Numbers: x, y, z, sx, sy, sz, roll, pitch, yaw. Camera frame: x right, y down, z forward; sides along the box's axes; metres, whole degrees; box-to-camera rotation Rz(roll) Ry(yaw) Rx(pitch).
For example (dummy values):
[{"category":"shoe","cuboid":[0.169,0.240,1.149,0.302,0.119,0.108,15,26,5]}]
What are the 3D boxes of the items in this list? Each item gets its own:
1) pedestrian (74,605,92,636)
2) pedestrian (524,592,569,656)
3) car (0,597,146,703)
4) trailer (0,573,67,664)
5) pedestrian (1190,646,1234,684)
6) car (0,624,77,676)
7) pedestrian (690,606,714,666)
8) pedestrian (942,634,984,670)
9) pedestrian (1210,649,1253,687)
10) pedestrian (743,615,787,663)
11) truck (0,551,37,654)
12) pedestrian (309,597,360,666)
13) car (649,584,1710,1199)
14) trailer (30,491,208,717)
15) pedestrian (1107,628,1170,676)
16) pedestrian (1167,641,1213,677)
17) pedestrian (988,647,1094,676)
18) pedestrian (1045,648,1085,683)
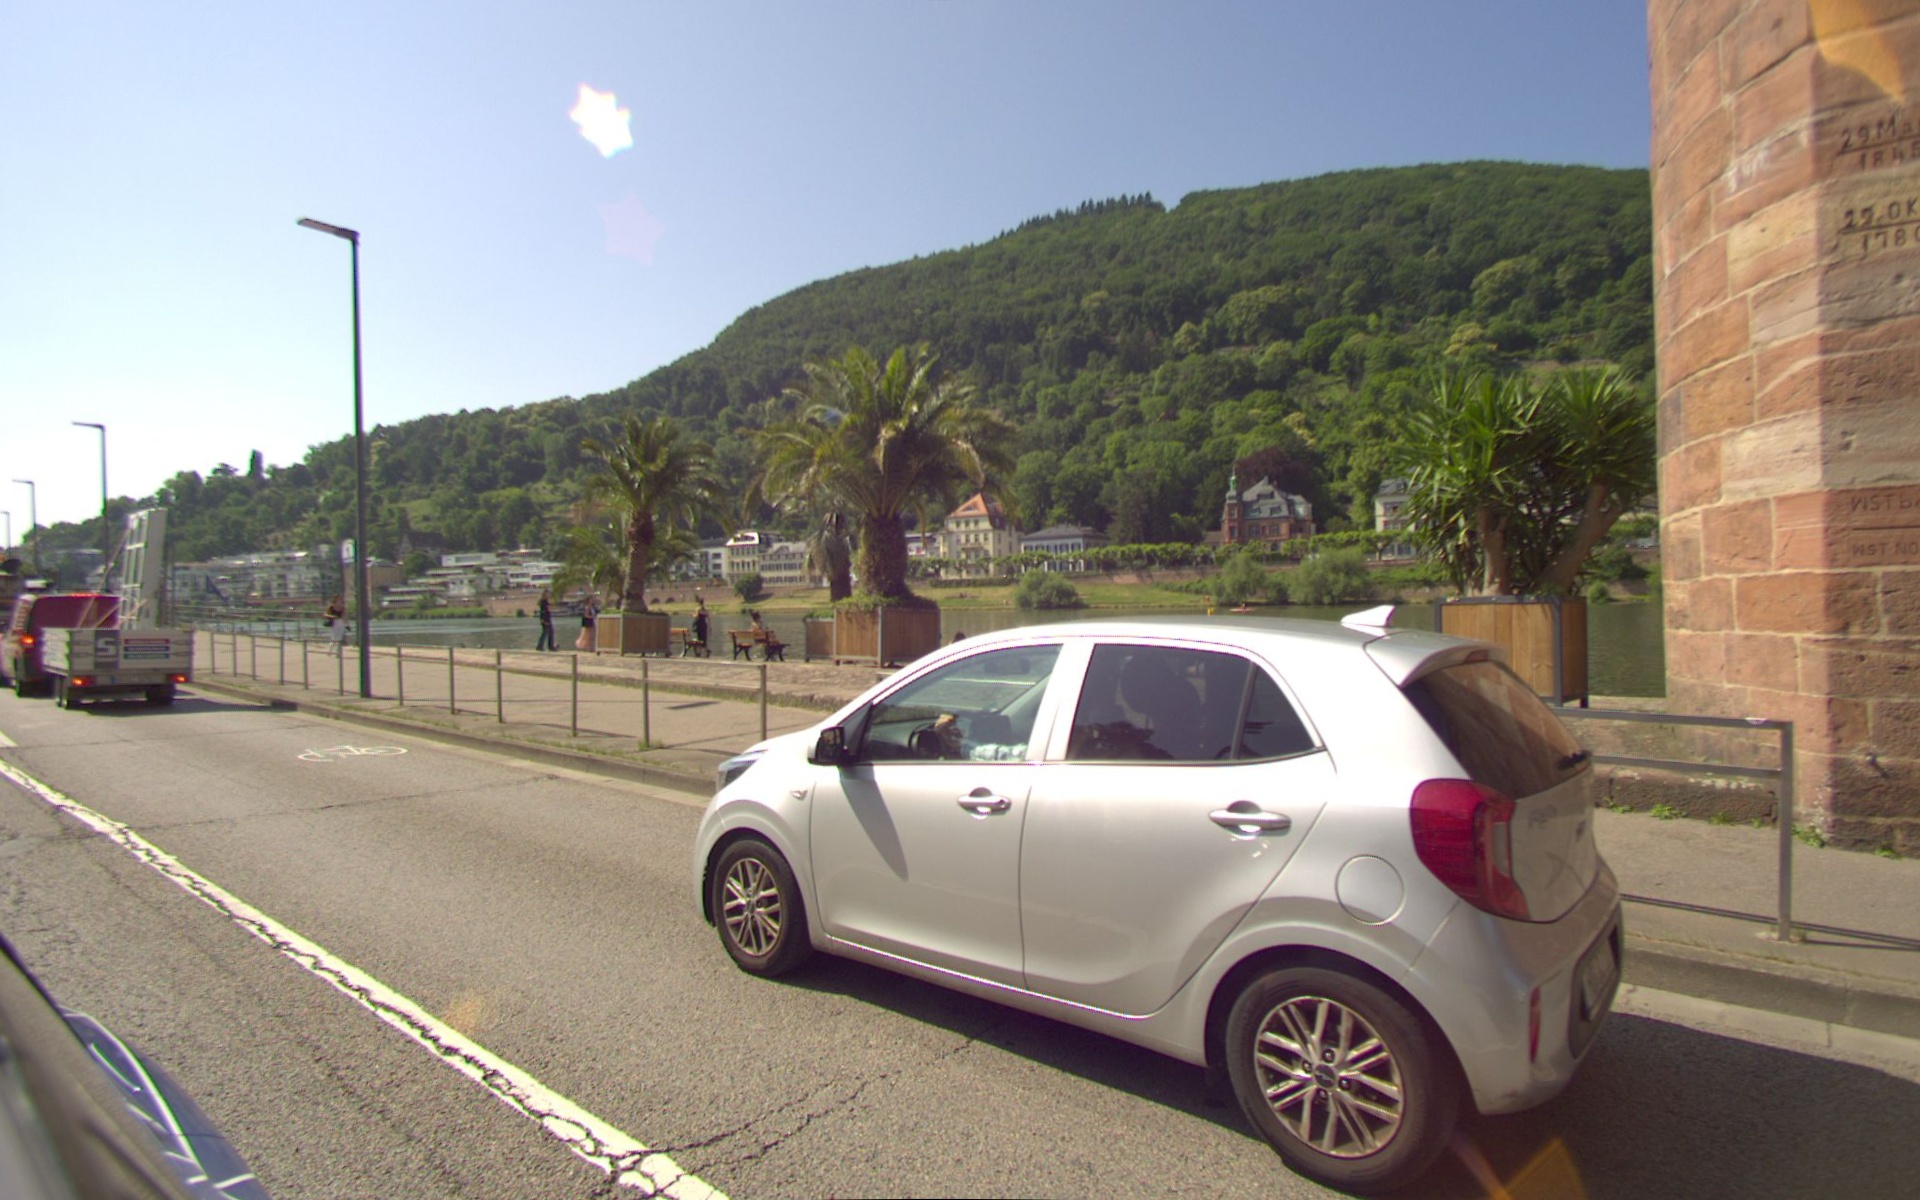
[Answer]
[{"category":"pedestrian","cuboid":[-50.089,1.175,57.803,0.703,1.719,0.846,0,-1,-45]},{"category":"pedestrian","cuboid":[-11.206,0.637,27.439,0.836,1.704,0.795,-1,0,7]},{"category":"car","cuboid":[-17.615,0.913,19.788,4.541,1.841,1.855,-1,-2,41]},{"category":"trailer","cuboid":[-29.418,0.516,30.834,6.948,2.550,2.668,0,-1,43]},{"category":"pedestrian","cuboid":[4.089,1.052,16.427,0.537,0.568,0.433,-1,0,-36]},{"category":"car","cuboid":[-24.108,1.253,26.001,3.627,1.203,1.654,0,-2,41]},{"category":"pedestrian","cuboid":[-7.072,0.966,27.772,0.585,1.613,0.681,-1,0,-11]},{"category":"pedestrian","cuboid":[0.068,1.144,22.550,0.688,0.747,0.603,-1,0,-45]},{"category":"pedestrian","cuboid":[4.316,1.075,16.094,0.537,0.568,0.415,-1,0,-36]},{"category":"pedestrian","cuboid":[-4.775,0.965,24.784,0.508,1.154,0.930,-1,-3,45]},{"category":"truck","cuboid":[-35.640,0.059,36.650,7.872,3.483,2.613,0,-1,43]},{"category":"pedestrian","cuboid":[-16.170,0.794,26.157,1.151,1.714,0.808,0,0,41]},{"category":"car","cuboid":[0.515,0.729,3.902,3.725,1.447,1.519,-1,-2,41]},{"category":"trailer","cuboid":[-13.968,0.092,16.765,3.382,3.345,1.723,-1,-2,42]},{"category":"pedestrian","cuboid":[3.011,0.862,17.089,0.777,0.748,0.712,-1,0,-40]},{"category":"pedestrian","cuboid":[3.822,0.973,16.822,0.537,0.568,0.533,-1,0,-36]},{"category":"pedestrian","cuboid":[1.341,1.025,17.006,1.741,0.425,0.638,-1,-2,41]},{"category":"pedestrian","cuboid":[1.849,1.156,17.876,0.457,0.568,0.515,5,-4,-40]}]
